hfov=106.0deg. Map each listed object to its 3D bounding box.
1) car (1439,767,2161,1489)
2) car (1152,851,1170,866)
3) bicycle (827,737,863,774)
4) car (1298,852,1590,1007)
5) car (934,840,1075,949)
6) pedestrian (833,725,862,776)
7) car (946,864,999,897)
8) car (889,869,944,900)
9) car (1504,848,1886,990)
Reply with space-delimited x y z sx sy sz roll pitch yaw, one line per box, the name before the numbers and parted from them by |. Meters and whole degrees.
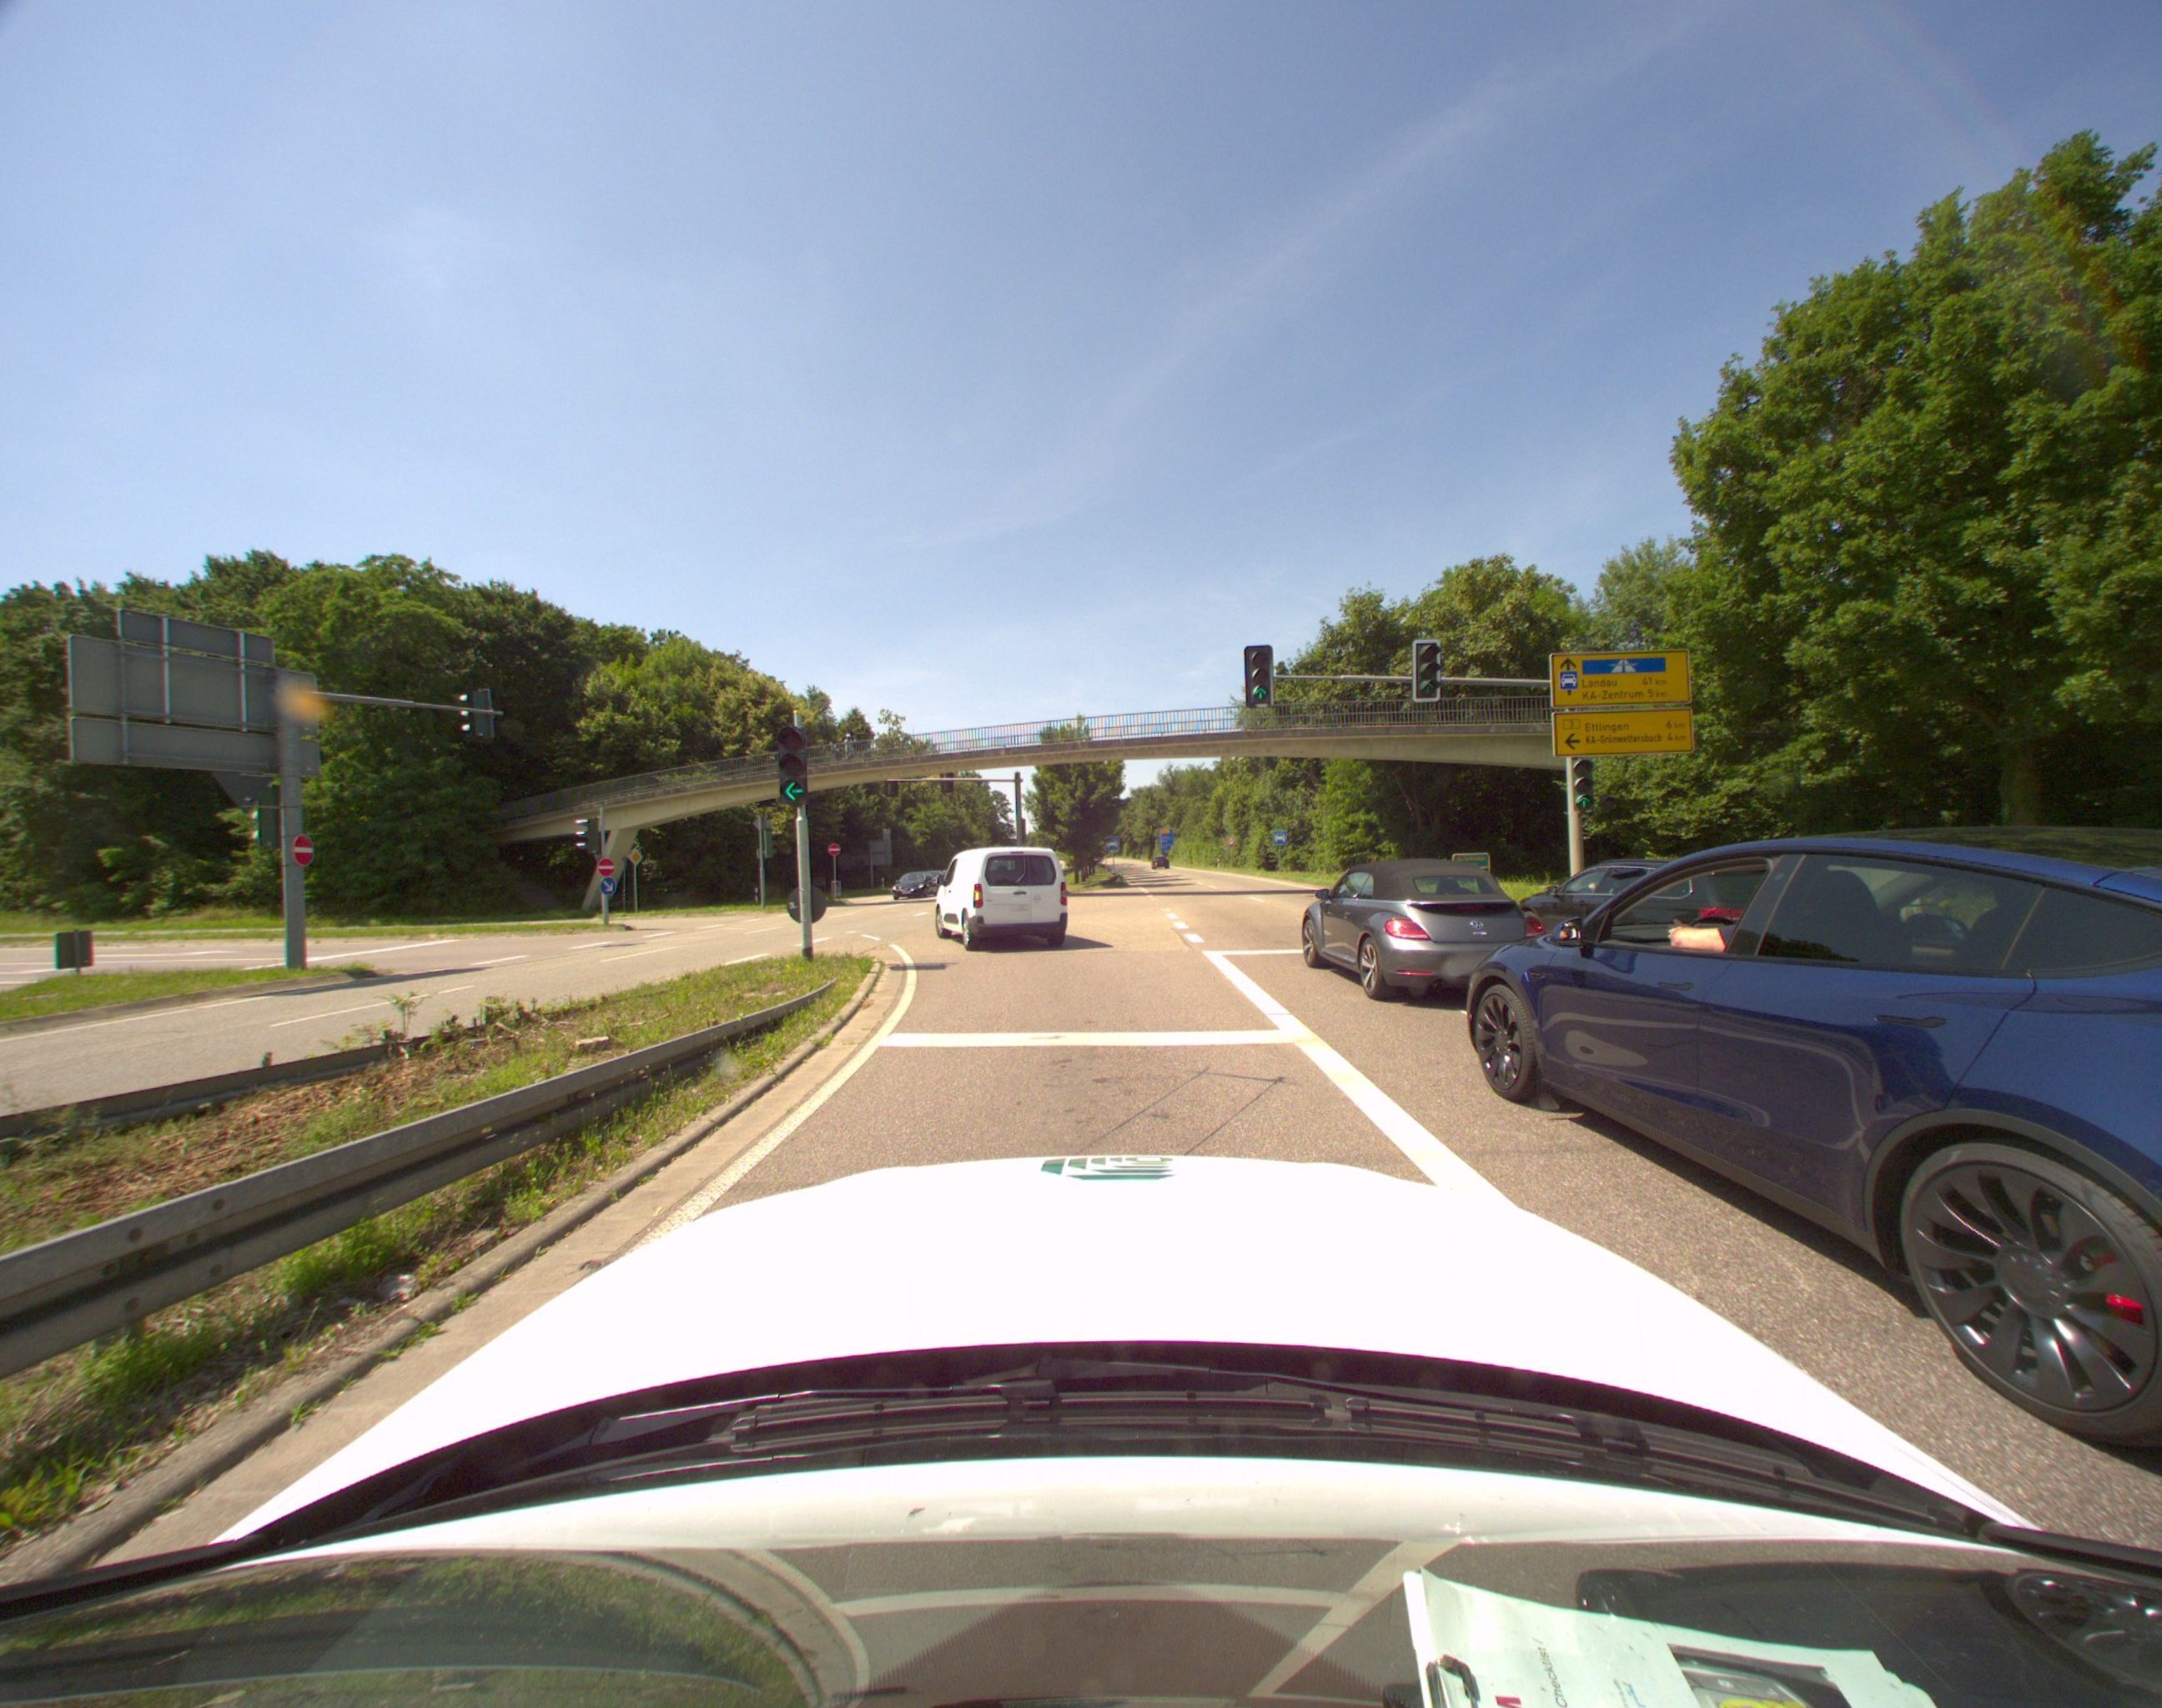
car | 3.444 0.624 3.518 1.893 1.644 4.521 -1 0 1
car | 10.022 0.547 101.938 2.033 1.699 5.091 -2 0 3
bicycle | -10.816 -4.509 37.294 1.514 1.474 0.472 -4 -3 18
car | 4.009 0.736 9.798 1.893 1.478 3.941 -1 0 2
car | -1.624 0.741 15.795 1.855 1.826 3.955 -1 -2 -19
pedestrian | -10.771 -4.770 37.622 0.776 2.140 0.936 -4 -3 18
car | -5.598 1.325 42.469 1.986 1.523 4.030 -3 -1 2
car | -9.090 1.652 45.241 2.000 1.460 4.057 -4 -1 2
car | 7.610 0.699 10.784 1.893 1.478 4.383 -1 0 2
